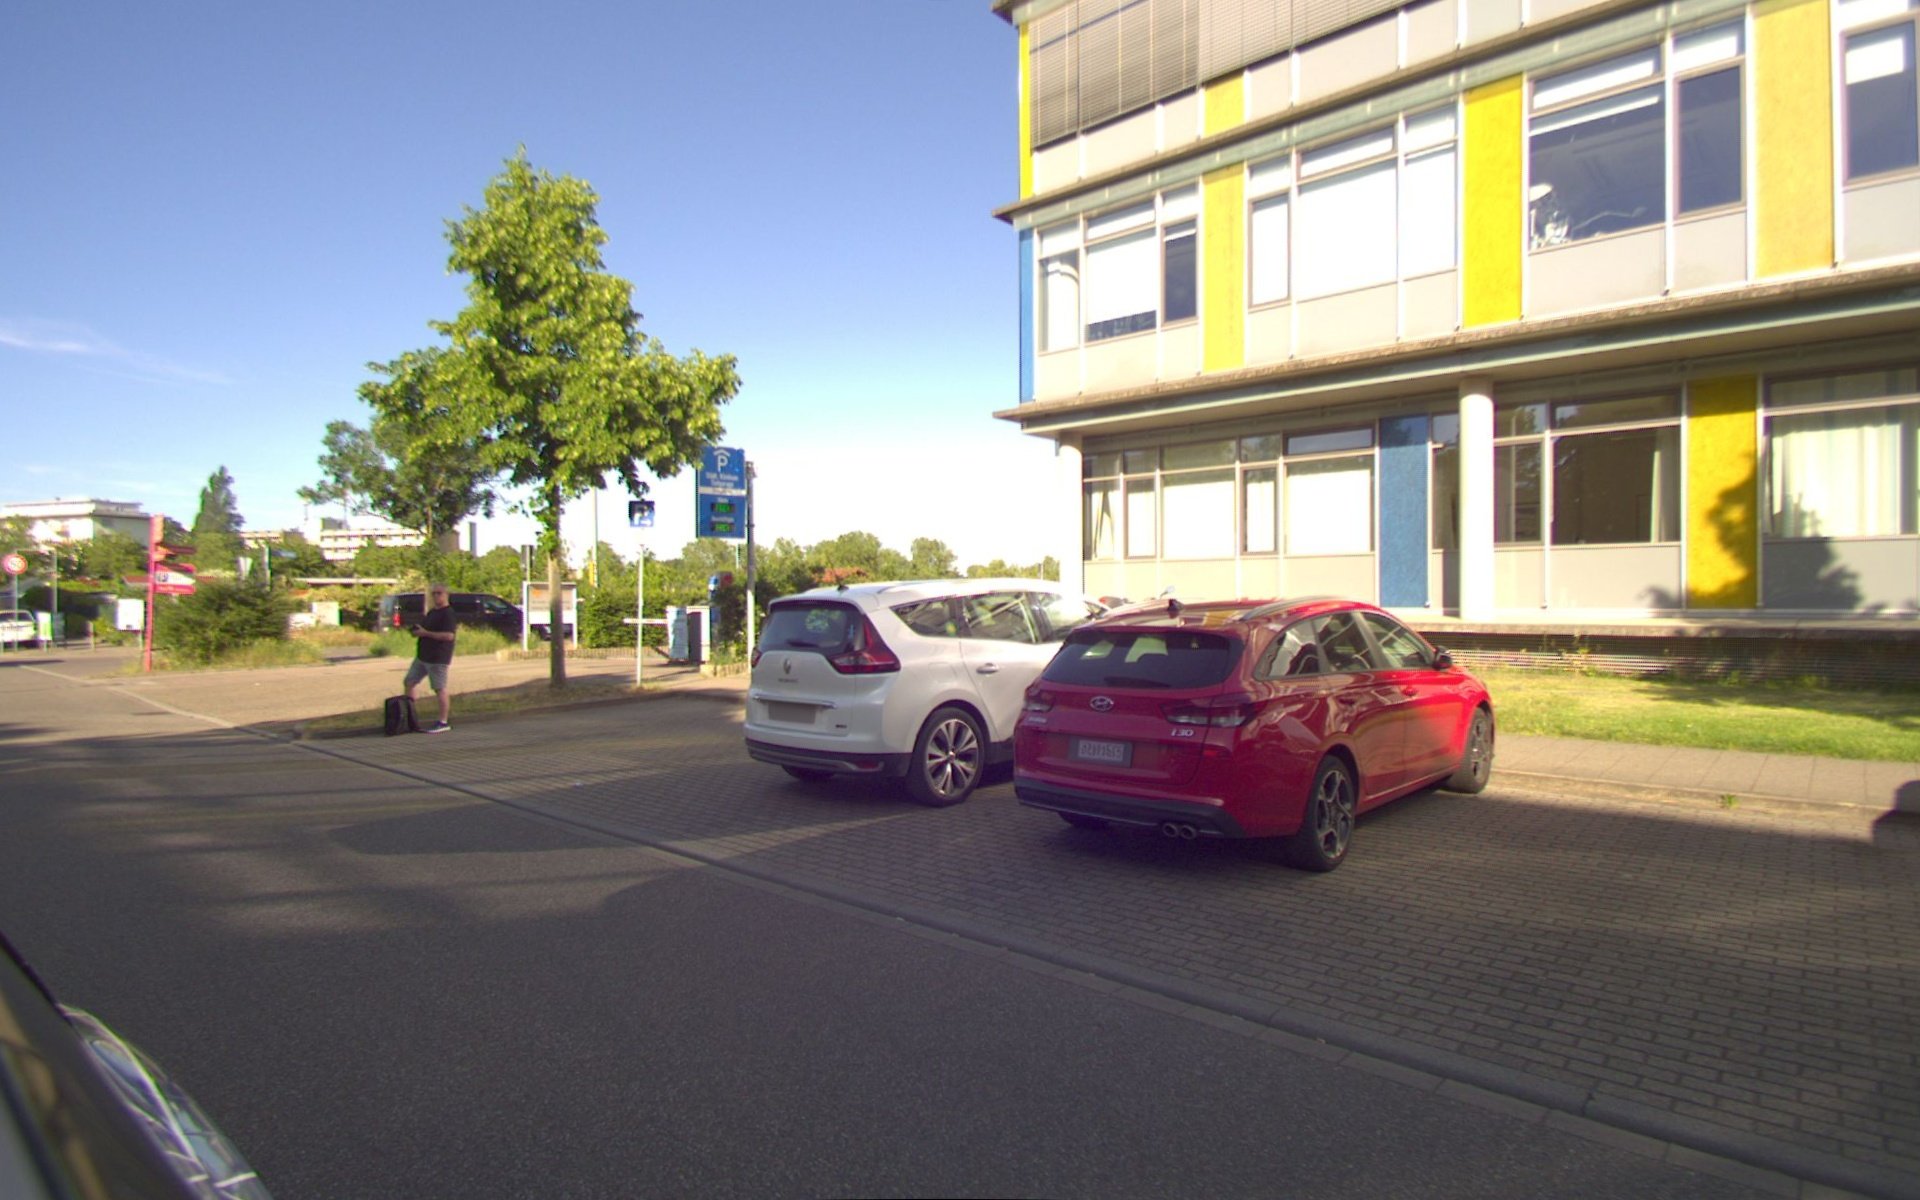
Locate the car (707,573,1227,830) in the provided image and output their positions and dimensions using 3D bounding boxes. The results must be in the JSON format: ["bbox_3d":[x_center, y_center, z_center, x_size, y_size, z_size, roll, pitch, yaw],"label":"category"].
[{"bbox_3d":[0.306,0.638,8.810,4.559,1.663,1.869,-1,0,-45],"label":"car"}]

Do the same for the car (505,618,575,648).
[{"bbox_3d":[-17.472,1.341,42.067,1.488,1.160,3.851,0,-1,-42],"label":"car"}]

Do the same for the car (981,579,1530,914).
[{"bbox_3d":[2.265,0.645,6.813,1.827,1.512,4.386,-1,0,42],"label":"car"}]

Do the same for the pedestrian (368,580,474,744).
[{"bbox_3d":[-6.498,0.710,12.206,0.826,1.856,0.848,-1,1,44],"label":"pedestrian"}]

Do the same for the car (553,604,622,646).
[{"bbox_3d":[-16.287,1.068,44.195,1.488,1.707,3.851,0,-1,-42],"label":"car"}]

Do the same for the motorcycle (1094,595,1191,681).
[{"bbox_3d":[2.838,0.548,15.593,0.499,1.158,2.023,-2,1,39],"label":"motorcycle"}]

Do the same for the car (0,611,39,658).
[{"bbox_3d":[-33.796,1.215,35.513,4.515,1.524,1.678,-2,2,42],"label":"car"}]

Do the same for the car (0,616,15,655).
[{"bbox_3d":[-38.641,1.402,39.797,4.540,1.456,1.728,-1,3,42],"label":"car"}]
